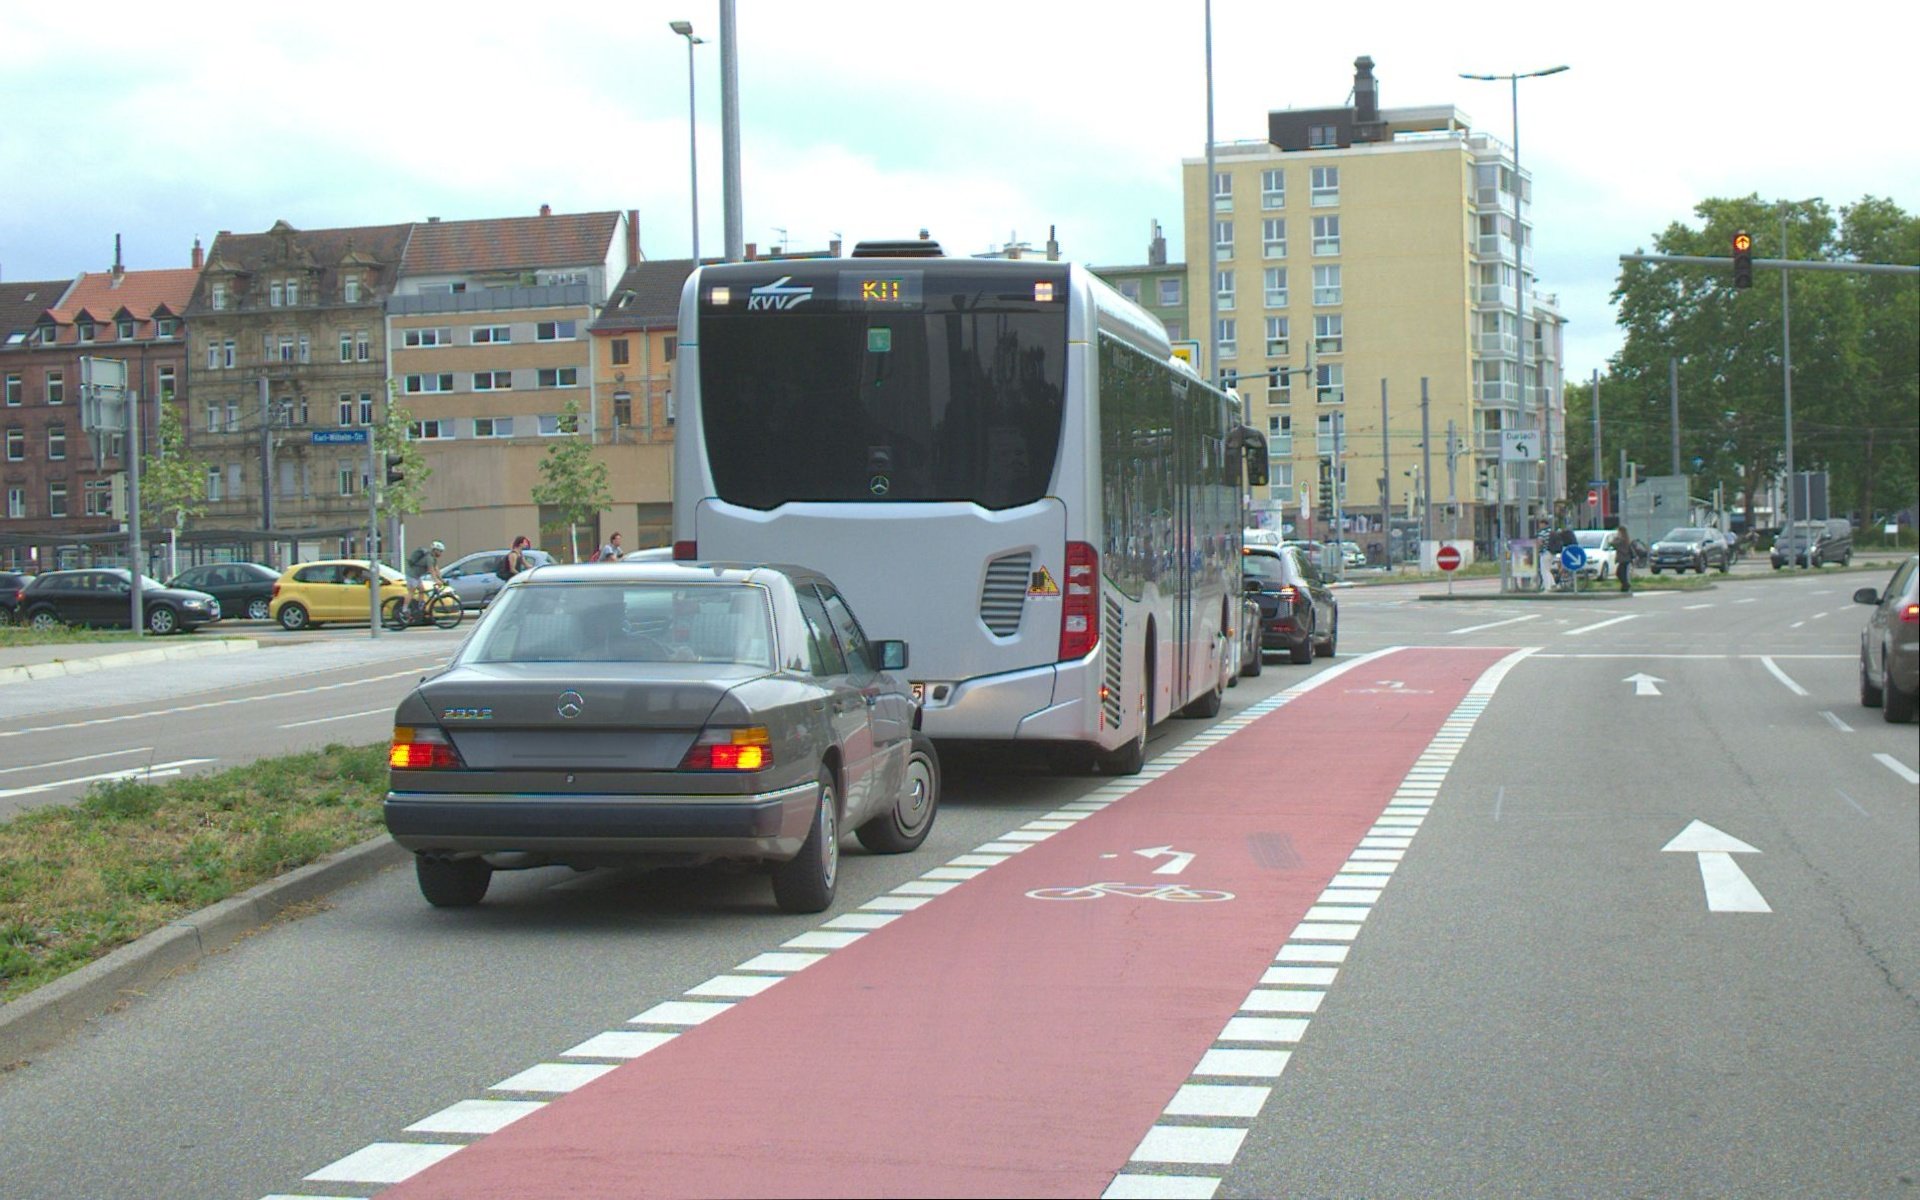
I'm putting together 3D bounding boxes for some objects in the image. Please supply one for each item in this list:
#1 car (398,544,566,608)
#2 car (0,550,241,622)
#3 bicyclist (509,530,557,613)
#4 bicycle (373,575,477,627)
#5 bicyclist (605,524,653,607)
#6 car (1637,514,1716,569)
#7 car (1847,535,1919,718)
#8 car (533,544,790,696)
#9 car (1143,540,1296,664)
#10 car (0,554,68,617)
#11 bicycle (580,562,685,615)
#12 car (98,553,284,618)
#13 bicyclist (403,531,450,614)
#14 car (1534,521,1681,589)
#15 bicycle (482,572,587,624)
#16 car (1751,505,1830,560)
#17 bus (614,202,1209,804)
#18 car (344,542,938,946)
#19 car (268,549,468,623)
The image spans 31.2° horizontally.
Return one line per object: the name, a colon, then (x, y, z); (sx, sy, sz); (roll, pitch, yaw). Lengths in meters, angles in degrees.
car: (-10.673, -0.541, 76.683); (3.671, 1.389, 1.585); (0, 1, -9)
car: (-17.656, -0.308, 72.341); (4.670, 1.470, 1.660); (0, 1, 5)
bicyclist: (-8.571, -0.583, 68.985); (0.786, 1.637, 0.572); (-1, 1, 9)
bicycle: (-10.822, 0.014, 69.533); (1.964, 0.978, 0.631); (-1, 1, 5)
bicyclist: (-6.582, -0.687, 68.395); (0.786, 1.637, 0.614); (-1, 1, 7)
car: (25.468, -2.101, 122.130); (1.809, 1.844, 3.995); (-1, 1, 26)
car: (8.670, 0.177, 29.676); (1.725, 1.452, 3.734); (-1, 1, 11)
car: (-3.296, 0.186, 38.824); (1.755, 1.484, 4.376); (-2, 2, 10)
car: (3.228, -0.009, 42.237); (1.655, 1.392, 3.859); (-1, 1, 7)
car: (-22.144, -0.337, 77.203); (3.764, 1.389, 1.584); (0, 1, 5)
bicycle: (-6.515, -0.229, 68.396); (1.965, 0.978, 0.631); (-1, 1, 7)
car: (-17.172, -0.335, 76.877); (3.764, 1.389, 1.584); (0, 1, 5)
bicyclist: (-10.786, -0.562, 69.521); (0.786, 1.637, 0.572); (-1, 1, 5)
car: (21.333, -1.496, 113.081); (2.589, 2.102, 5.589); (0, 1, 36)
bicycle: (-8.536, -0.046, 68.986); (1.965, 0.978, 0.631); (-1, 1, 9)
car: (32.359, -2.636, 133.880); (1.997, 2.007, 3.994); (-1, 1, 29)
bus: (0.001, -0.639, 23.693); (2.832, 3.378, 8.180); (-1, 1, 8)
car: (-1.233, 0.519, 15.138); (1.761, 1.484, 4.170); (-1, 1, 6)
car: (-12.414, -0.297, 72.209); (3.857, 1.512, 1.660); (0, 1, 5)
